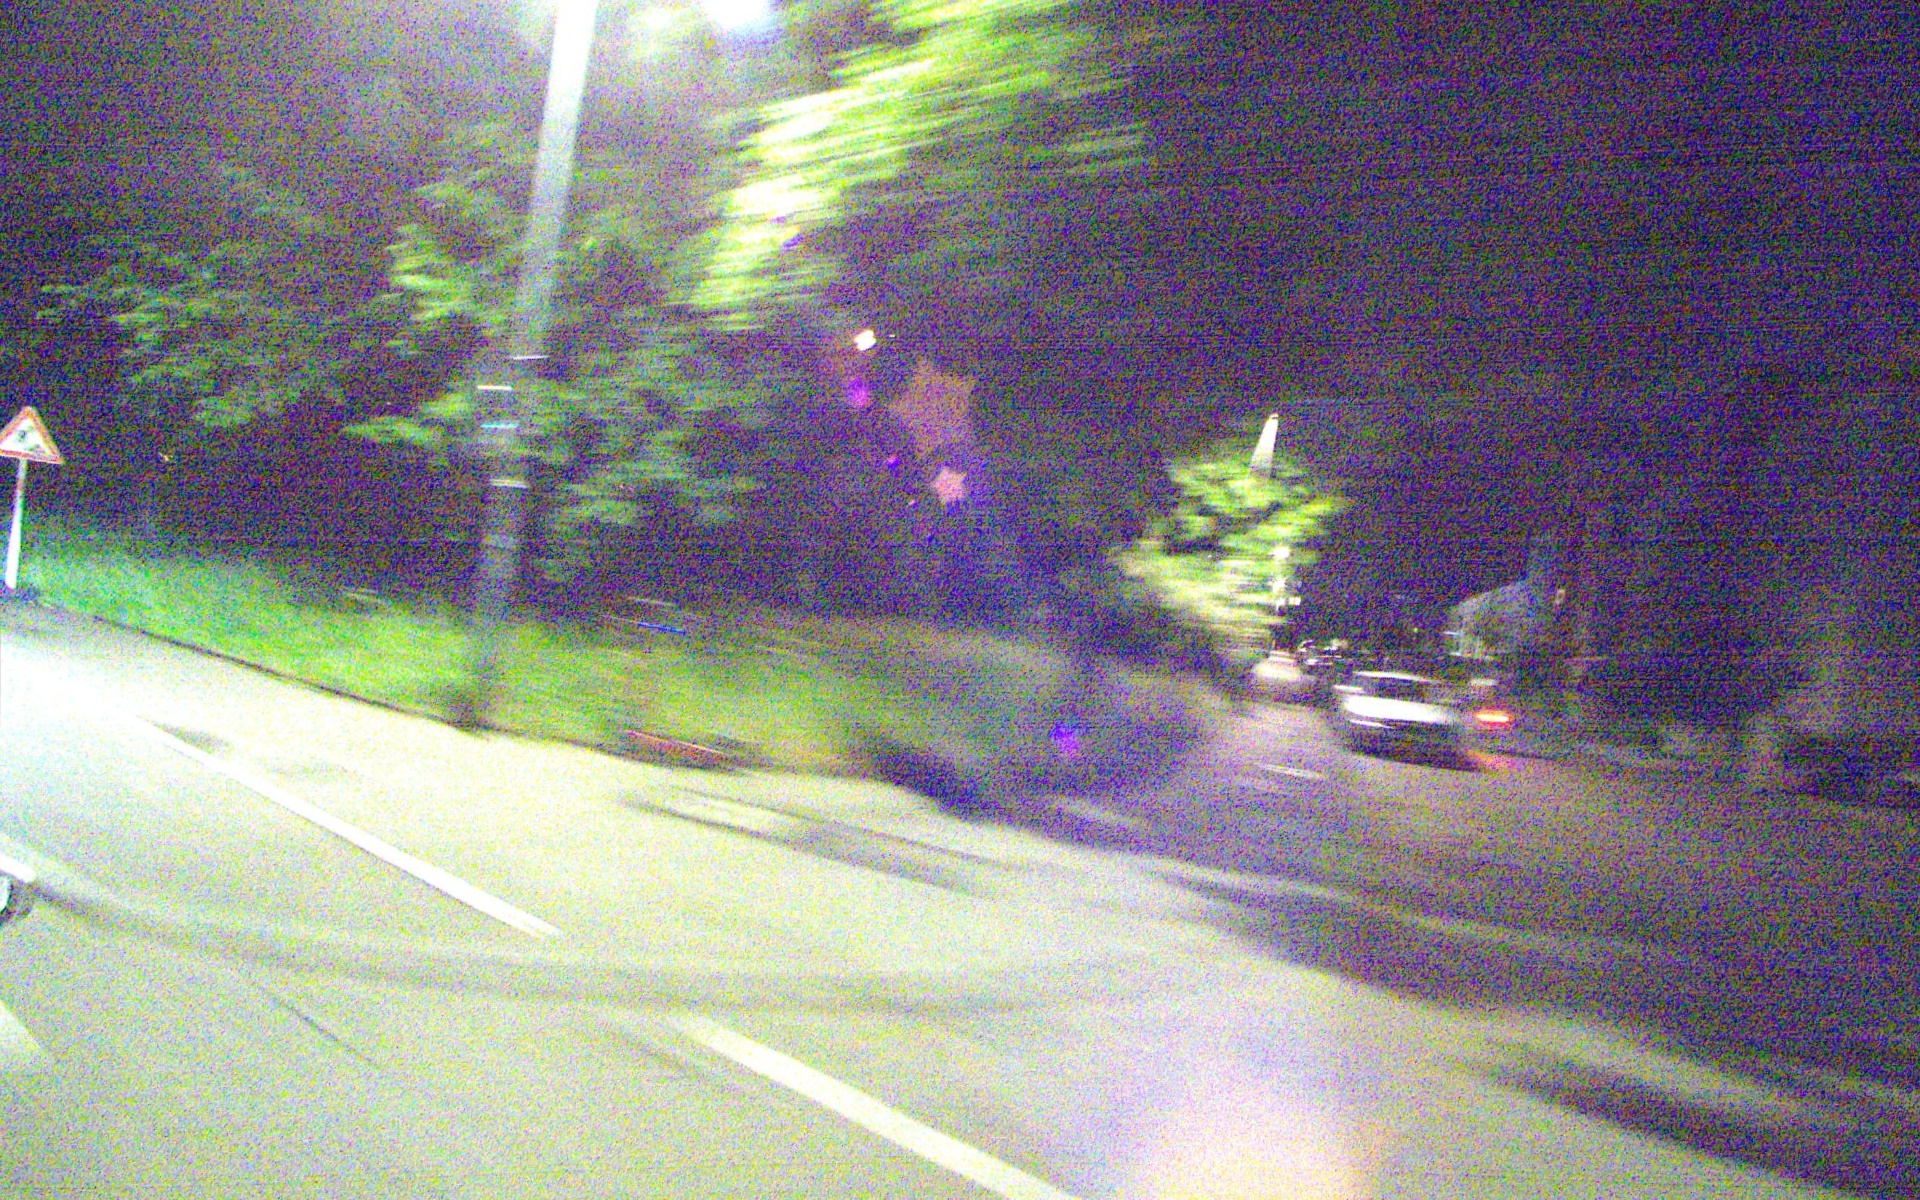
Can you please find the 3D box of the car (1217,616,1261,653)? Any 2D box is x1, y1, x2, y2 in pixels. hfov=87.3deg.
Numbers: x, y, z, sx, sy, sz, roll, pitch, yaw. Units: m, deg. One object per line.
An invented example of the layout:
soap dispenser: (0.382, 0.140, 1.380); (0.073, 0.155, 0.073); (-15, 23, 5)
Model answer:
car: (15.314, 1.915, 55.070); (1.962, 1.693, 4.001); (7, 0, 18)

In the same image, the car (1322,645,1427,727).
car: (10.251, 2.076, 25.156); (1.962, 1.652, 4.001); (7, 0, 18)

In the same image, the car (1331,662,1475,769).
car: (8.026, 2.012, 18.572); (1.910, 1.471, 3.901); (7, -1, 18)

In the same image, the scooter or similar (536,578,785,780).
scooter or similar: (-2.380, 0.612, 8.040); (1.658, 1.296, 0.614); (8, -1, 14)

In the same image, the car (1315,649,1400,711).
car: (11.745, 2.313, 29.965); (1.962, 1.471, 4.001); (7, -1, 18)

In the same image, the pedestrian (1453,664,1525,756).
pedestrian: (10.815, 2.224, 20.612); (0.670, 1.697, 1.335); (8, -1, 8)

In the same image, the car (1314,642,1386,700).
car: (13.689, 2.460, 35.513); (1.962, 1.671, 4.001); (7, 0, 18)

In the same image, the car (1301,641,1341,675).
car: (18.541, 2.978, 51.773); (1.632, 1.471, 4.001); (7, -1, 18)
